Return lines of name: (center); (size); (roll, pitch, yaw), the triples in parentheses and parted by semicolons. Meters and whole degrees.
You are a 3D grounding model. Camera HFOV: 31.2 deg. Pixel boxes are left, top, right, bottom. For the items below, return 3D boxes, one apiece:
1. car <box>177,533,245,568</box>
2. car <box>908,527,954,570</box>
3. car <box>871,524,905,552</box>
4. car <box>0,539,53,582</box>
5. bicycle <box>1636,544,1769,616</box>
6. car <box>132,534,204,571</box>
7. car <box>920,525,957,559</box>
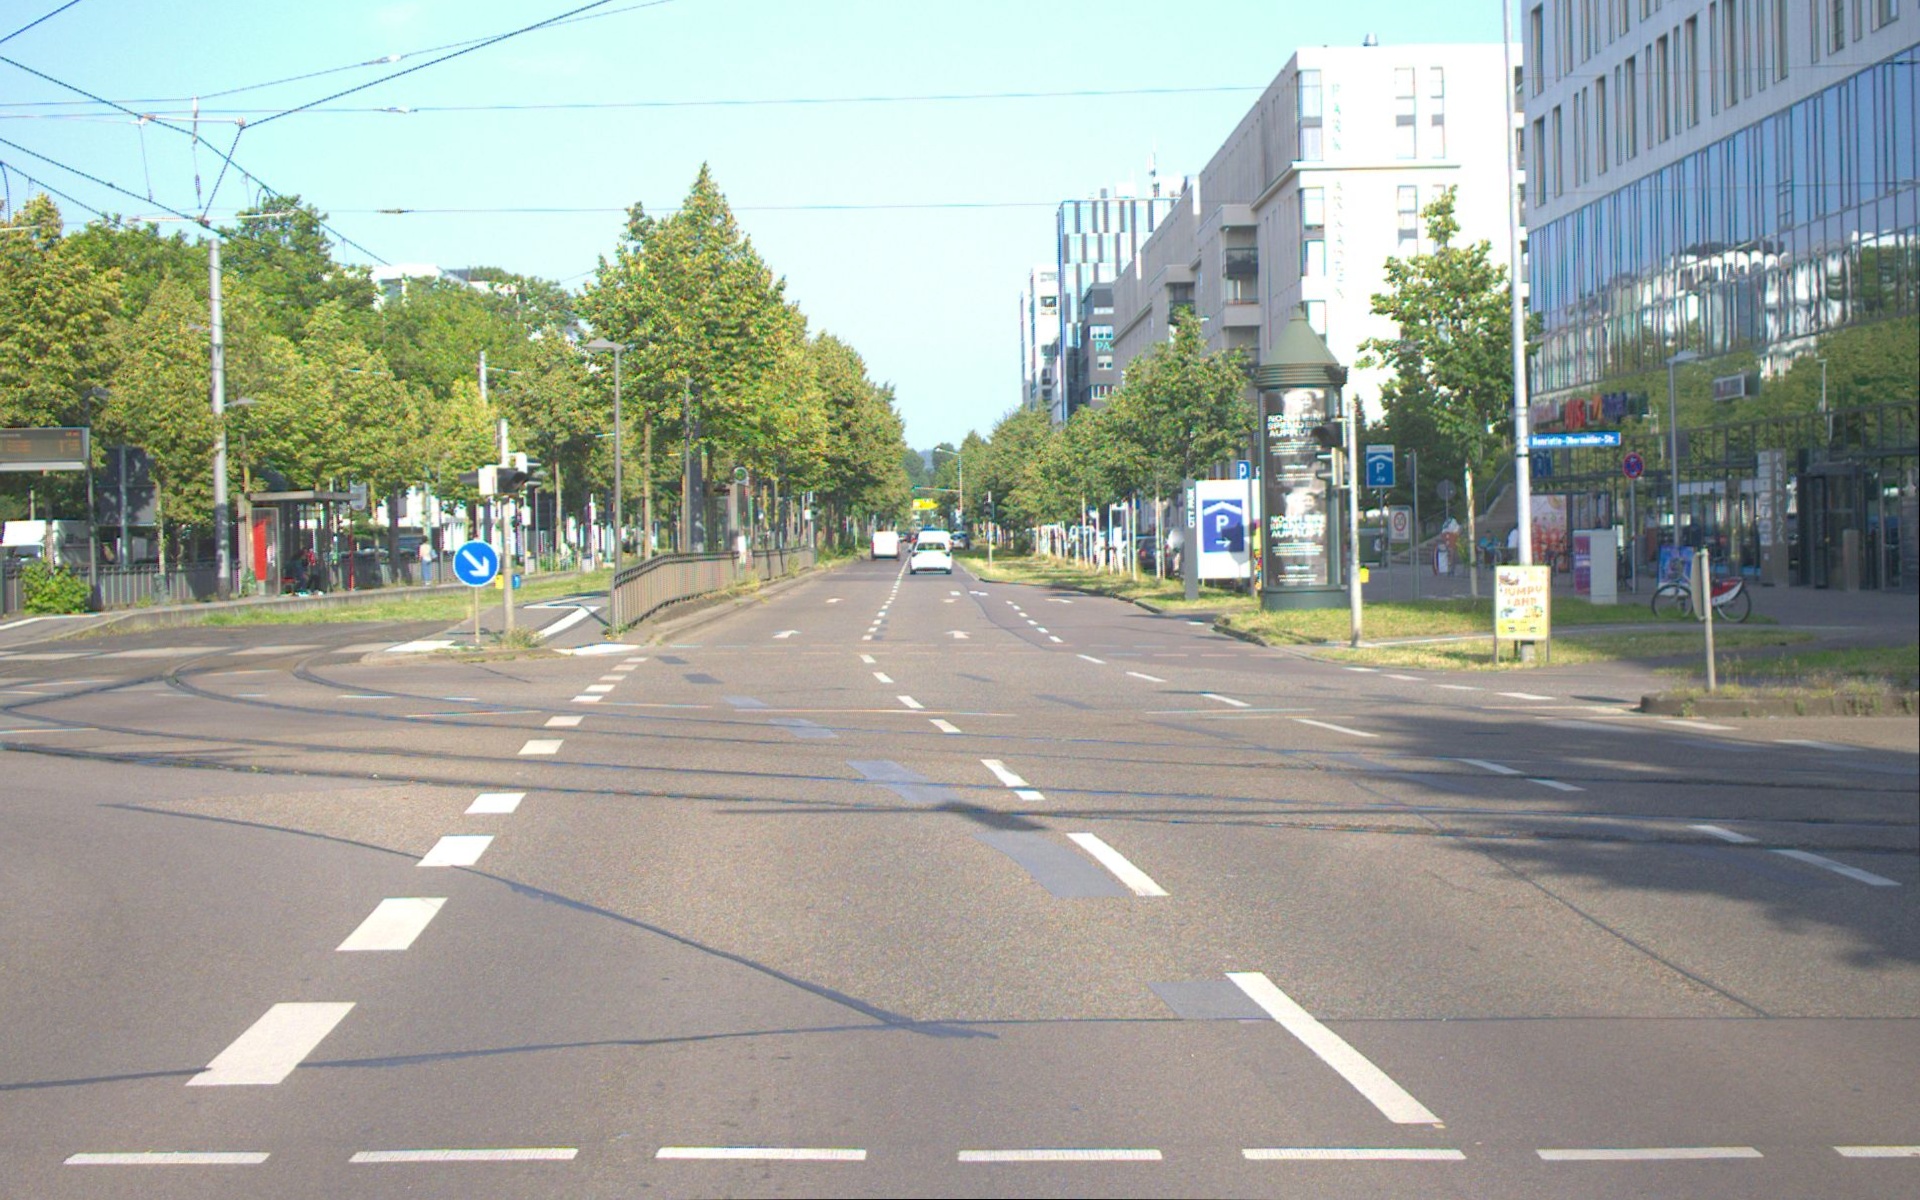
car: (-33.943, -2.244, 155.926); (1.881, 1.554, 3.999); (-1, 1, 5)
car: (-1.190, -2.157, 143.288); (1.864, 1.678, 4.000); (1, 2, 0)
car: (-4.442, -3.848, 213.741); (2.014, 1.678, 4.000); (1, 2, 0)
car: (-35.691, -1.474, 129.086); (1.881, 1.554, 3.999); (-1, 1, 5)
bicycle: (11.430, -0.314, 52.981); (0.771, 1.028, 1.878); (-2, 4, -44)
car: (-34.416, -2.067, 149.504); (1.881, 1.554, 3.999); (-1, 1, 5)
car: (-1.113, -3.002, 177.112); (1.864, 1.678, 4.000); (1, 2, 0)
